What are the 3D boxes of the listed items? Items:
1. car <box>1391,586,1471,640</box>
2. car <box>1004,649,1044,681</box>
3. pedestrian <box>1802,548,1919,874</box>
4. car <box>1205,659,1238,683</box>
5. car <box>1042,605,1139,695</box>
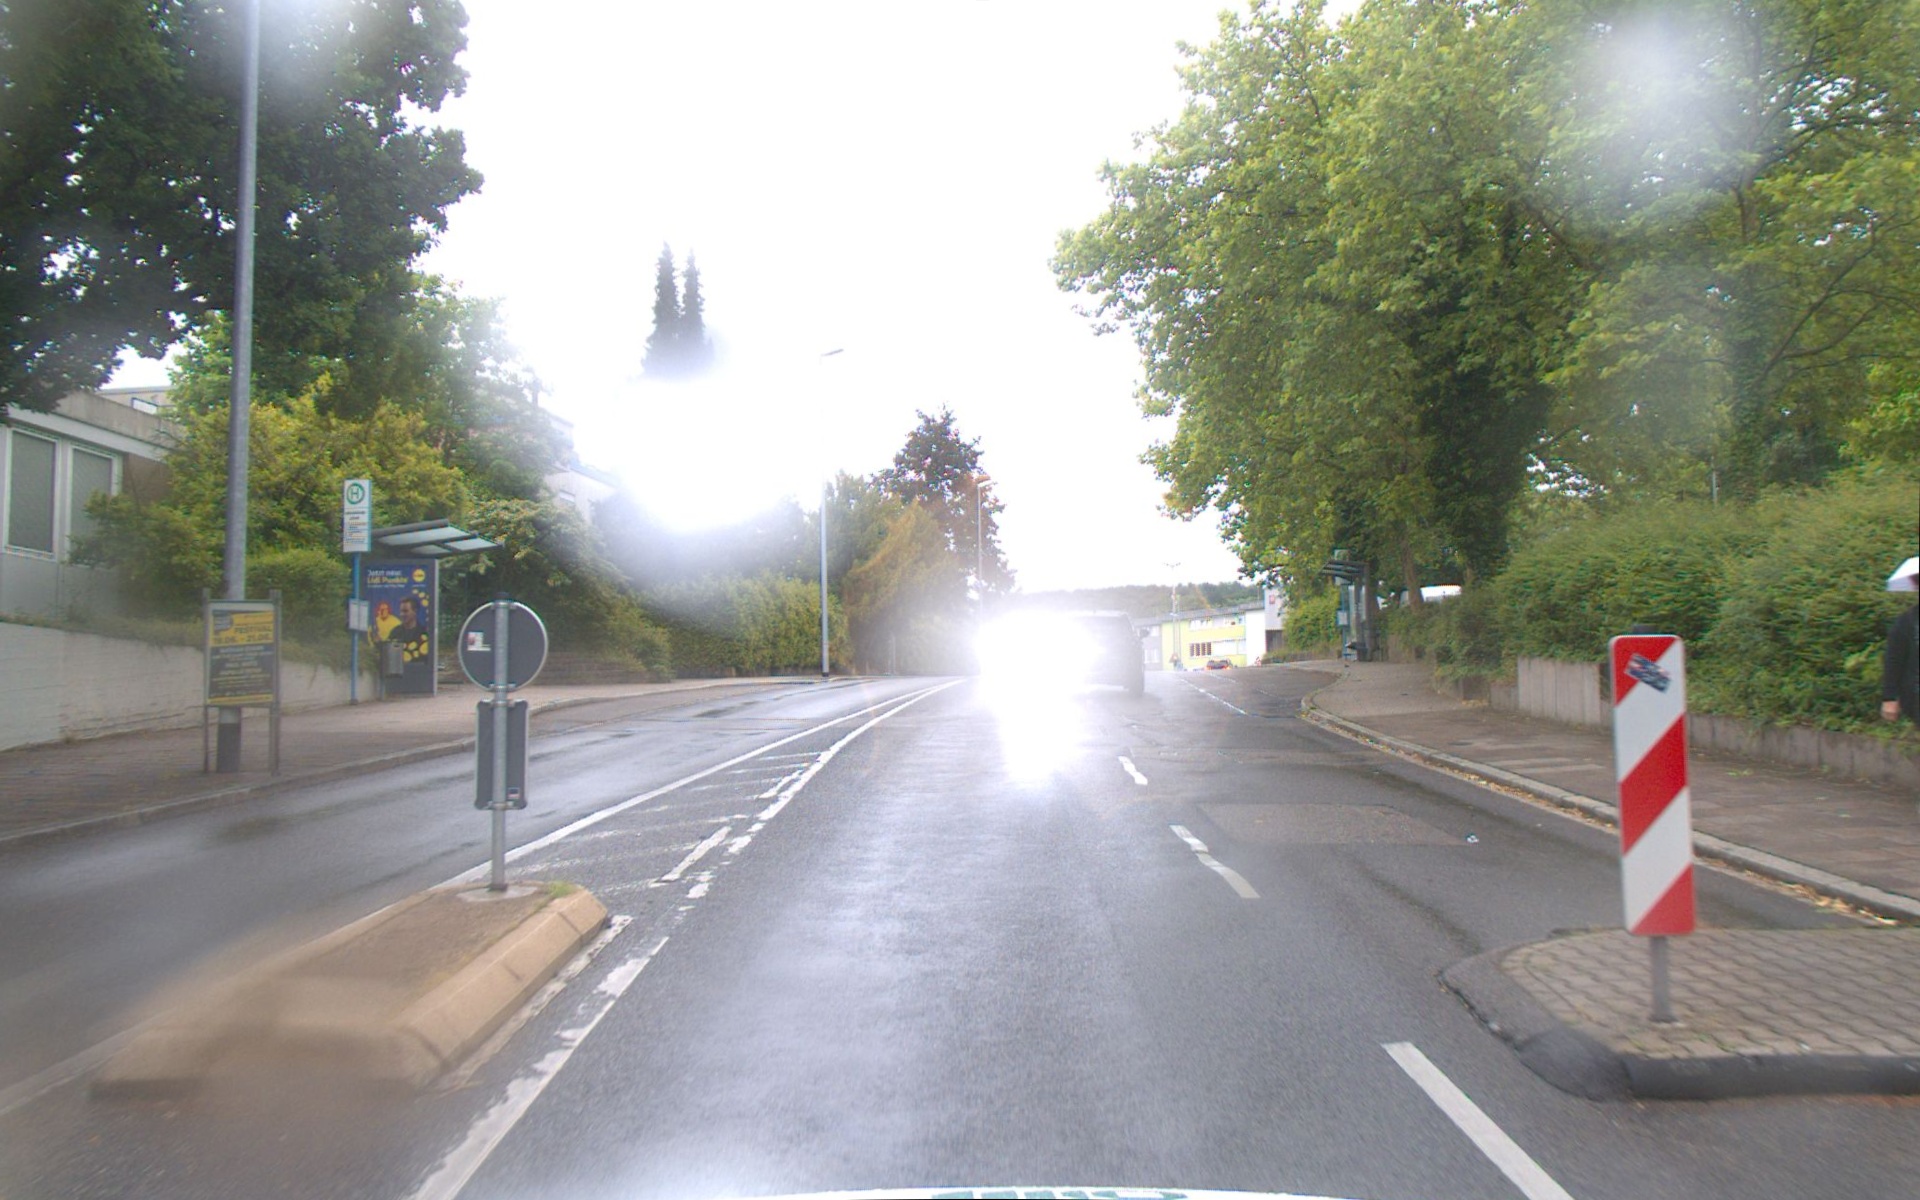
[{"bbox_3d":[20.915,0.570,73.644,2.003,2.324,5.016,0,-1,-1],"label":"car"},{"bbox_3d":[3.118,3.124,79.877,1.649,1.479,3.400,-1,-2,6],"label":"car"},{"bbox_3d":[6.133,0.675,10.365,1.030,1.927,1.132,0,-3,-5],"label":"pedestrian"},{"bbox_3d":[16.083,4.359,101.675,1.951,1.467,4.002,0,-2,8],"label":"car"},{"bbox_3d":[2.497,0.923,32.093,1.752,1.631,4.255,0,-1,4],"label":"car"}]
